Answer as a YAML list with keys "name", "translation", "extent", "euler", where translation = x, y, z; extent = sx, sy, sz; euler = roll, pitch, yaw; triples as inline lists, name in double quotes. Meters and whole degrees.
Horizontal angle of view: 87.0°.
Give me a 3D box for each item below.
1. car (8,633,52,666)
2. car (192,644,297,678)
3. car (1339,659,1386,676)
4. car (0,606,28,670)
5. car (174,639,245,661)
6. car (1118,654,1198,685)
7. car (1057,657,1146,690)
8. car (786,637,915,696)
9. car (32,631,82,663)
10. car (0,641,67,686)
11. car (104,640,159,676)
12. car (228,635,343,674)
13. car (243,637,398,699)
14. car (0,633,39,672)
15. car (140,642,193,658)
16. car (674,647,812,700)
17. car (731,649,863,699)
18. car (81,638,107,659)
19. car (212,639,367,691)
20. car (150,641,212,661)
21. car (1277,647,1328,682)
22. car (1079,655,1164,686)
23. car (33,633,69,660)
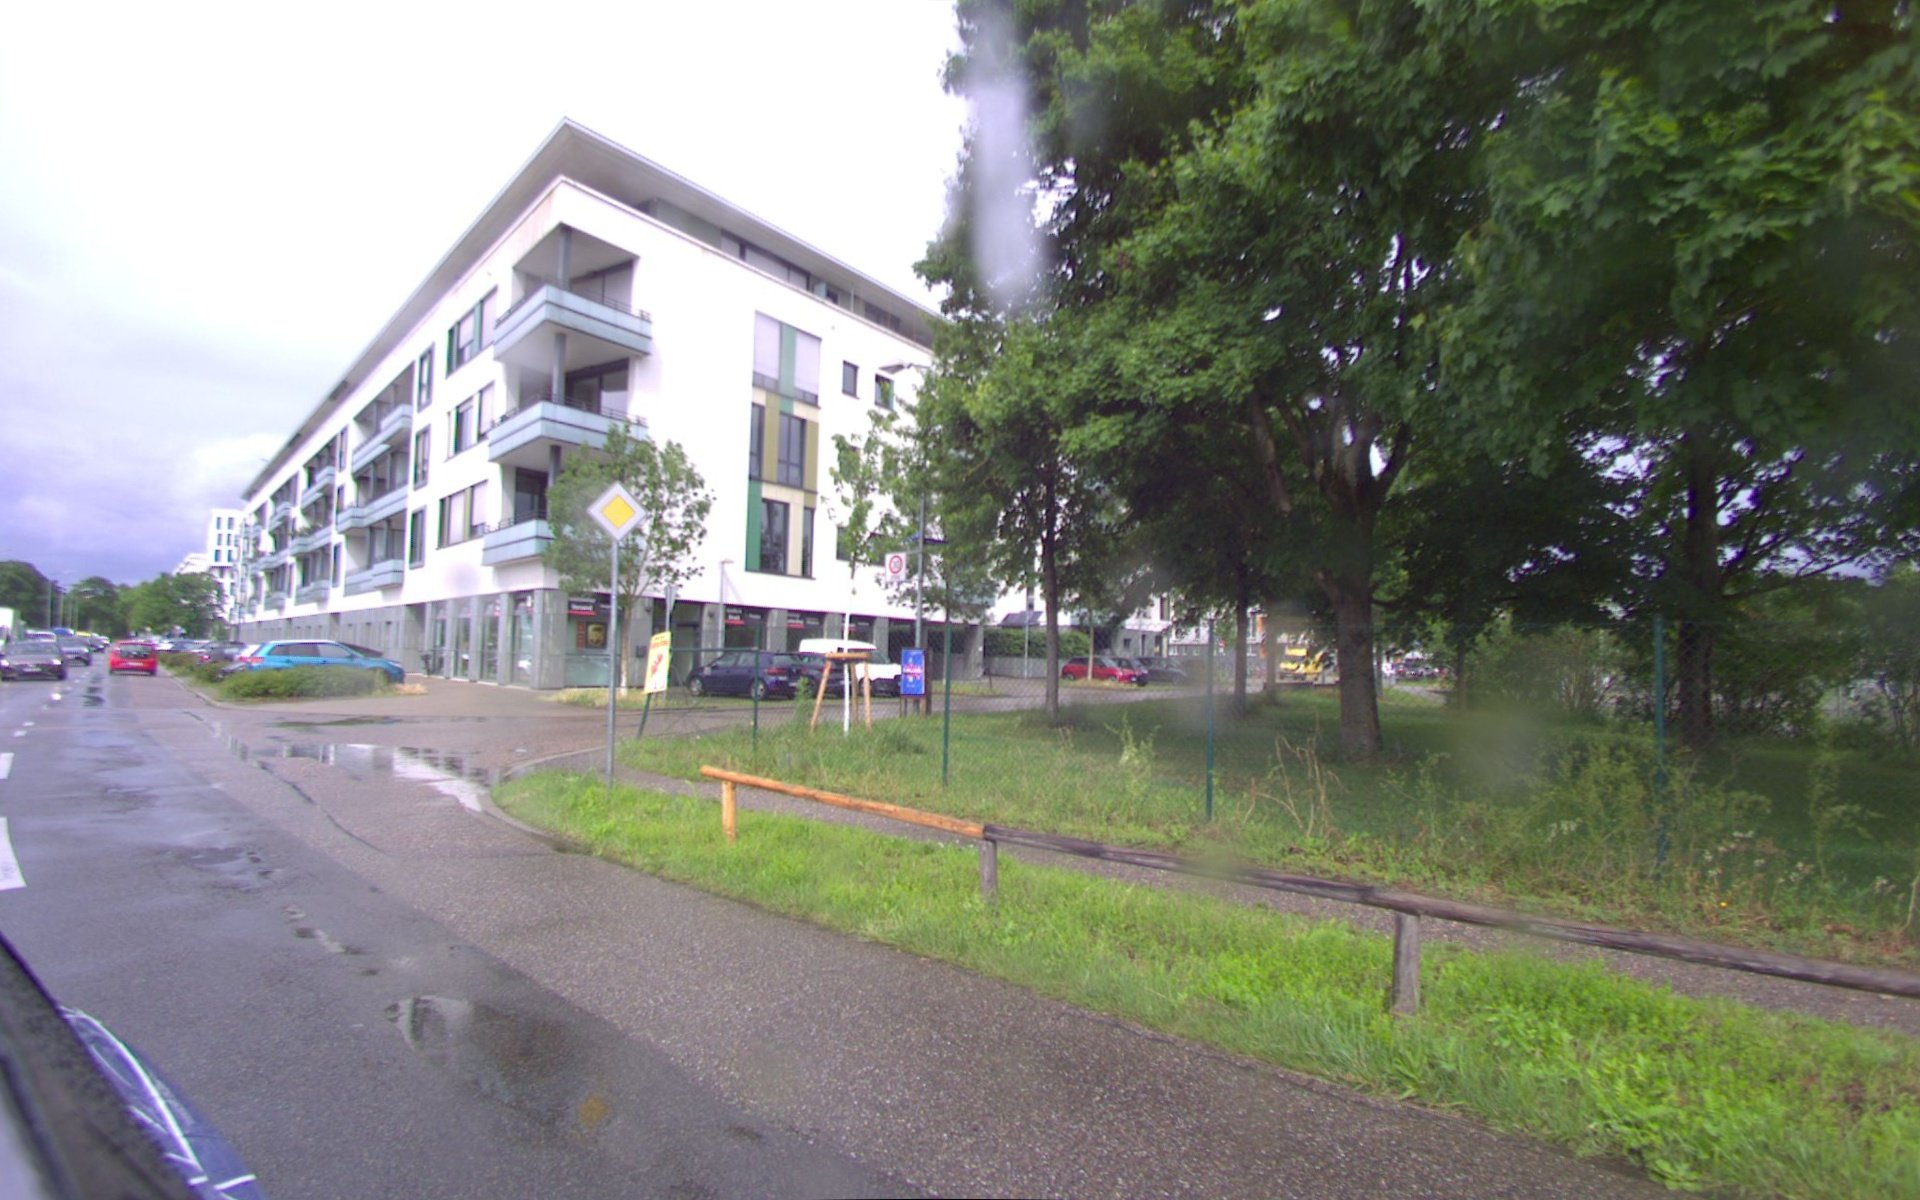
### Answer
- name: "car"
  translation: [-65.450, 3.491, 71.281]
  extent: [1.968, 2.259, 4.571]
  euler: [4, -5, -40]
- name: "car"
  translation: [-31.848, 2.684, 45.090]
  extent: [3.684, 1.383, 1.647]
  euler: [2, -3, -40]
- name: "car"
  translation: [40.139, 6.722, 100.954]
  extent: [4.172, 1.547, 1.625]
  euler: [0, -2, 32]
- name: "car"
  translation: [-47.263, 1.806, 48.932]
  extent: [2.439, 2.978, 6.900]
  euler: [5, -5, -37]
- name: "car"
  translation: [-50.852, 3.387, 68.630]
  extent: [3.742, 1.381, 1.747]
  euler: [0, -2, -41]
- name: "car"
  translation: [11.133, 3.877, 56.971]
  extent: [4.172, 1.547, 1.625]
  euler: [0, -2, 32]
- name: "car"
  translation: [7.083, 3.660, 50.852]
  extent: [4.172, 1.407, 1.625]
  euler: [0, -2, 32]
- name: "car"
  translation: [-3.799, 2.226, 34.719]
  extent: [4.336, 1.849, 1.625]
  euler: [0, -2, 32]
- name: "car"
  translation: [-51.961, 2.694, 58.301]
  extent: [1.980, 1.718, 4.335]
  euler: [4, -5, -41]
- name: "car"
  translation: [-34.552, 2.360, 37.599]
  extent: [1.845, 1.530, 4.365]
  euler: [0, -3, -39]
- name: "car"
  translation: [-36.095, 2.527, 44.154]
  extent: [1.635, 1.479, 3.396]
  euler: [4, -4, -37]
- name: "car"
  translation: [-26.843, 2.152, 40.329]
  extent: [3.614, 1.388, 1.688]
  euler: [0, -3, -43]
- name: "car"
  translation: [-19.047, 1.971, 30.187]
  extent: [3.761, 1.646, 1.758]
  euler: [0, -2, -38]
- name: "car"
  translation: [-56.458, 3.127, 60.304]
  extent: [1.968, 2.259, 4.571]
  euler: [4, -5, -40]
- name: "car"
  translation: [-72.830, 4.589, 92.866]
  extent: [3.742, 1.381, 1.747]
  euler: [0, -2, -41]
- name: "car"
  translation: [-6.620, 2.187, 30.755]
  extent: [4.175, 1.407, 1.625]
  euler: [0, -2, 32]
- name: "car"
  translation: [-5.249, 2.328, 32.449]
  extent: [4.116, 1.407, 1.670]
  euler: [0, -2, 32]
- name: "car"
  translation: [-89.178, 4.941, 104.194]
  extent: [1.969, 2.029, 4.005]
  euler: [0, -2, -42]
- name: "car"
  translation: [-22.448, 2.124, 33.969]
  extent: [4.121, 1.561, 1.862]
  euler: [1, -2, -41]
- name: "car"
  translation: [-60.899, 3.978, 79.121]
  extent: [3.742, 1.381, 1.747]
  euler: [0, -2, -41]
- name: "car"
  translation: [27.859, 5.169, 82.155]
  extent: [1.963, 2.634, 6.557]
  euler: [0, -2, 37]
- name: "car"
  translation: [8.502, 3.697, 53.411]
  extent: [4.172, 1.407, 1.625]
  euler: [0, -2, 32]
- name: "car"
  translation: [-78.167, 4.014, 87.063]
  extent: [1.968, 2.259, 4.571]
  euler: [4, -5, -40]
